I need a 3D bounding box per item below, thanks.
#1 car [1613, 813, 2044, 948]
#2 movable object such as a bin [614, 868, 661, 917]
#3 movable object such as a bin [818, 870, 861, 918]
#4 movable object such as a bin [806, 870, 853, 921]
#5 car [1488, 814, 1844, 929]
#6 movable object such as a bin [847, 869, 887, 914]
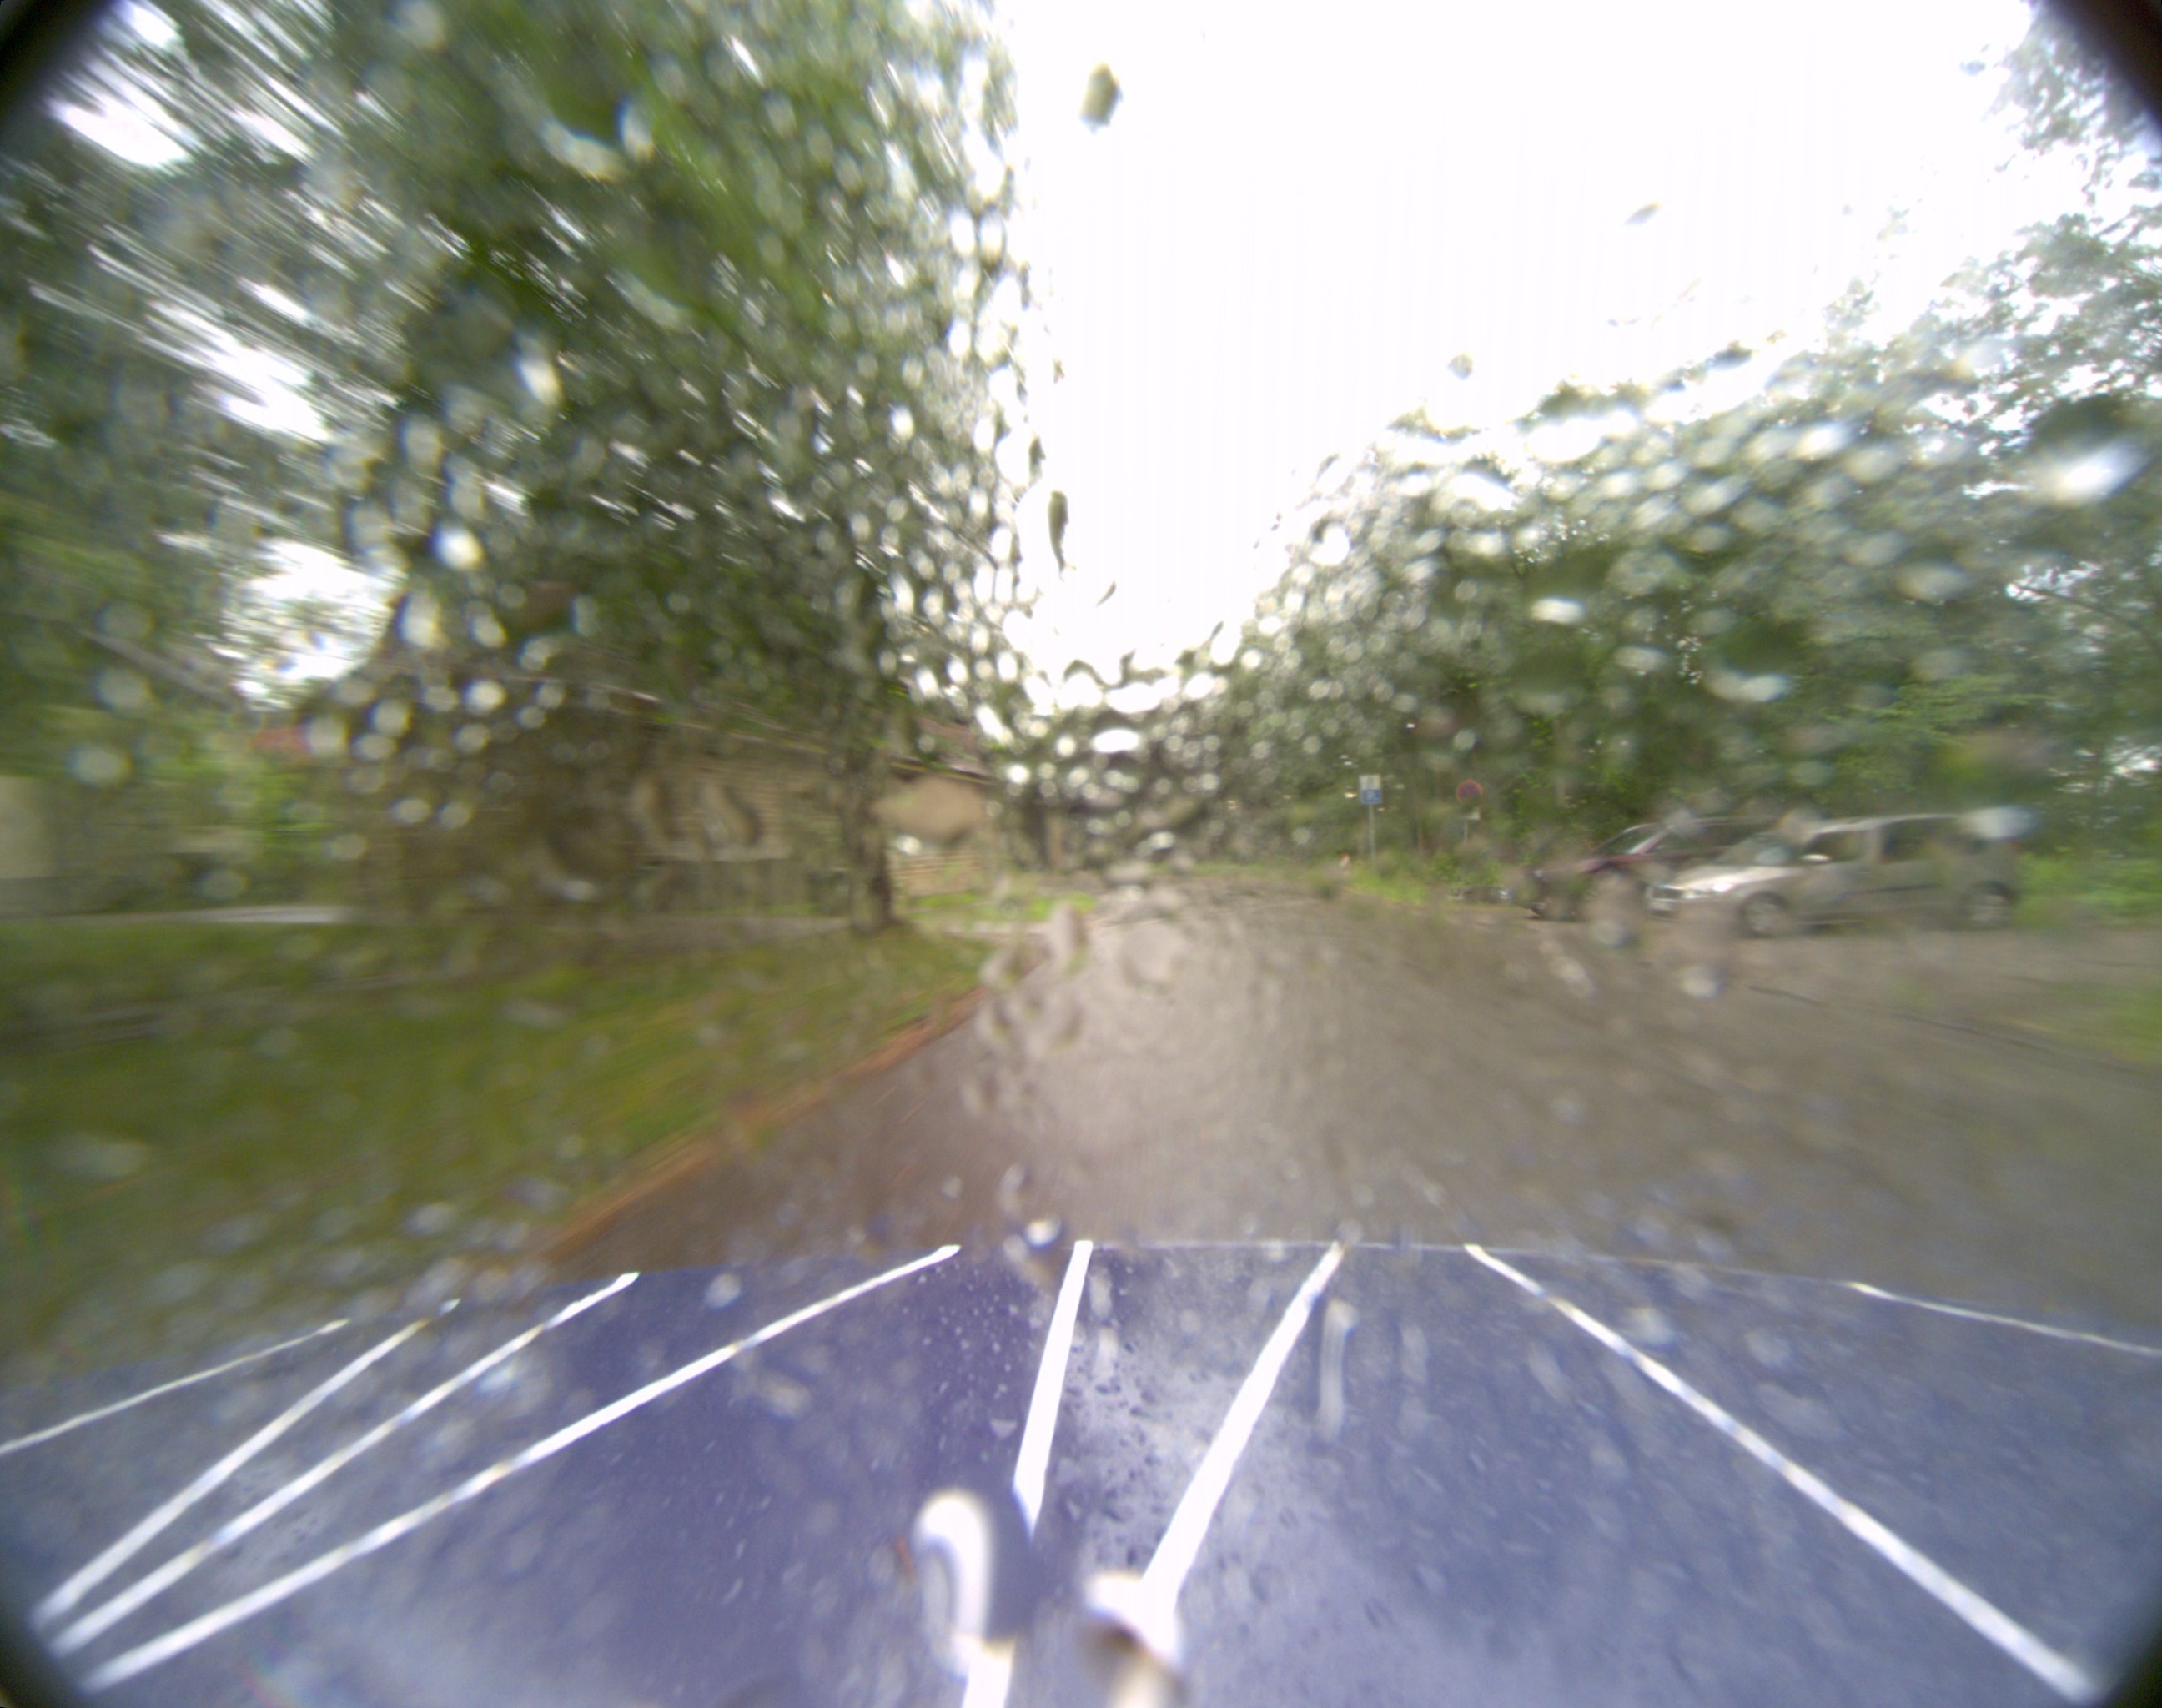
[{"bbox_3d":[10.459,0.382,10.954,4.144,1.545,1.775,-4,0,7],"label":"car"},{"bbox_3d":[-8.786,0.753,15.072,0.551,0.902,0.534,4,2,16],"label":"movable object such as a bin"},{"bbox_3d":[-5.599,0.911,17.624,0.696,1.033,0.576,4,2,16],"label":"movable object such as a bin"},{"bbox_3d":[-5.601,0.907,16.941,0.696,1.033,0.661,4,2,16],"label":"movable object such as a bin"},{"bbox_3d":[10.444,0.322,13.925,4.835,1.667,1.877,-4,0,6],"label":"car"},{"bbox_3d":[-5.304,0.910,18.860,0.696,1.033,0.576,4,2,16],"label":"movable object such as a bin"}]
